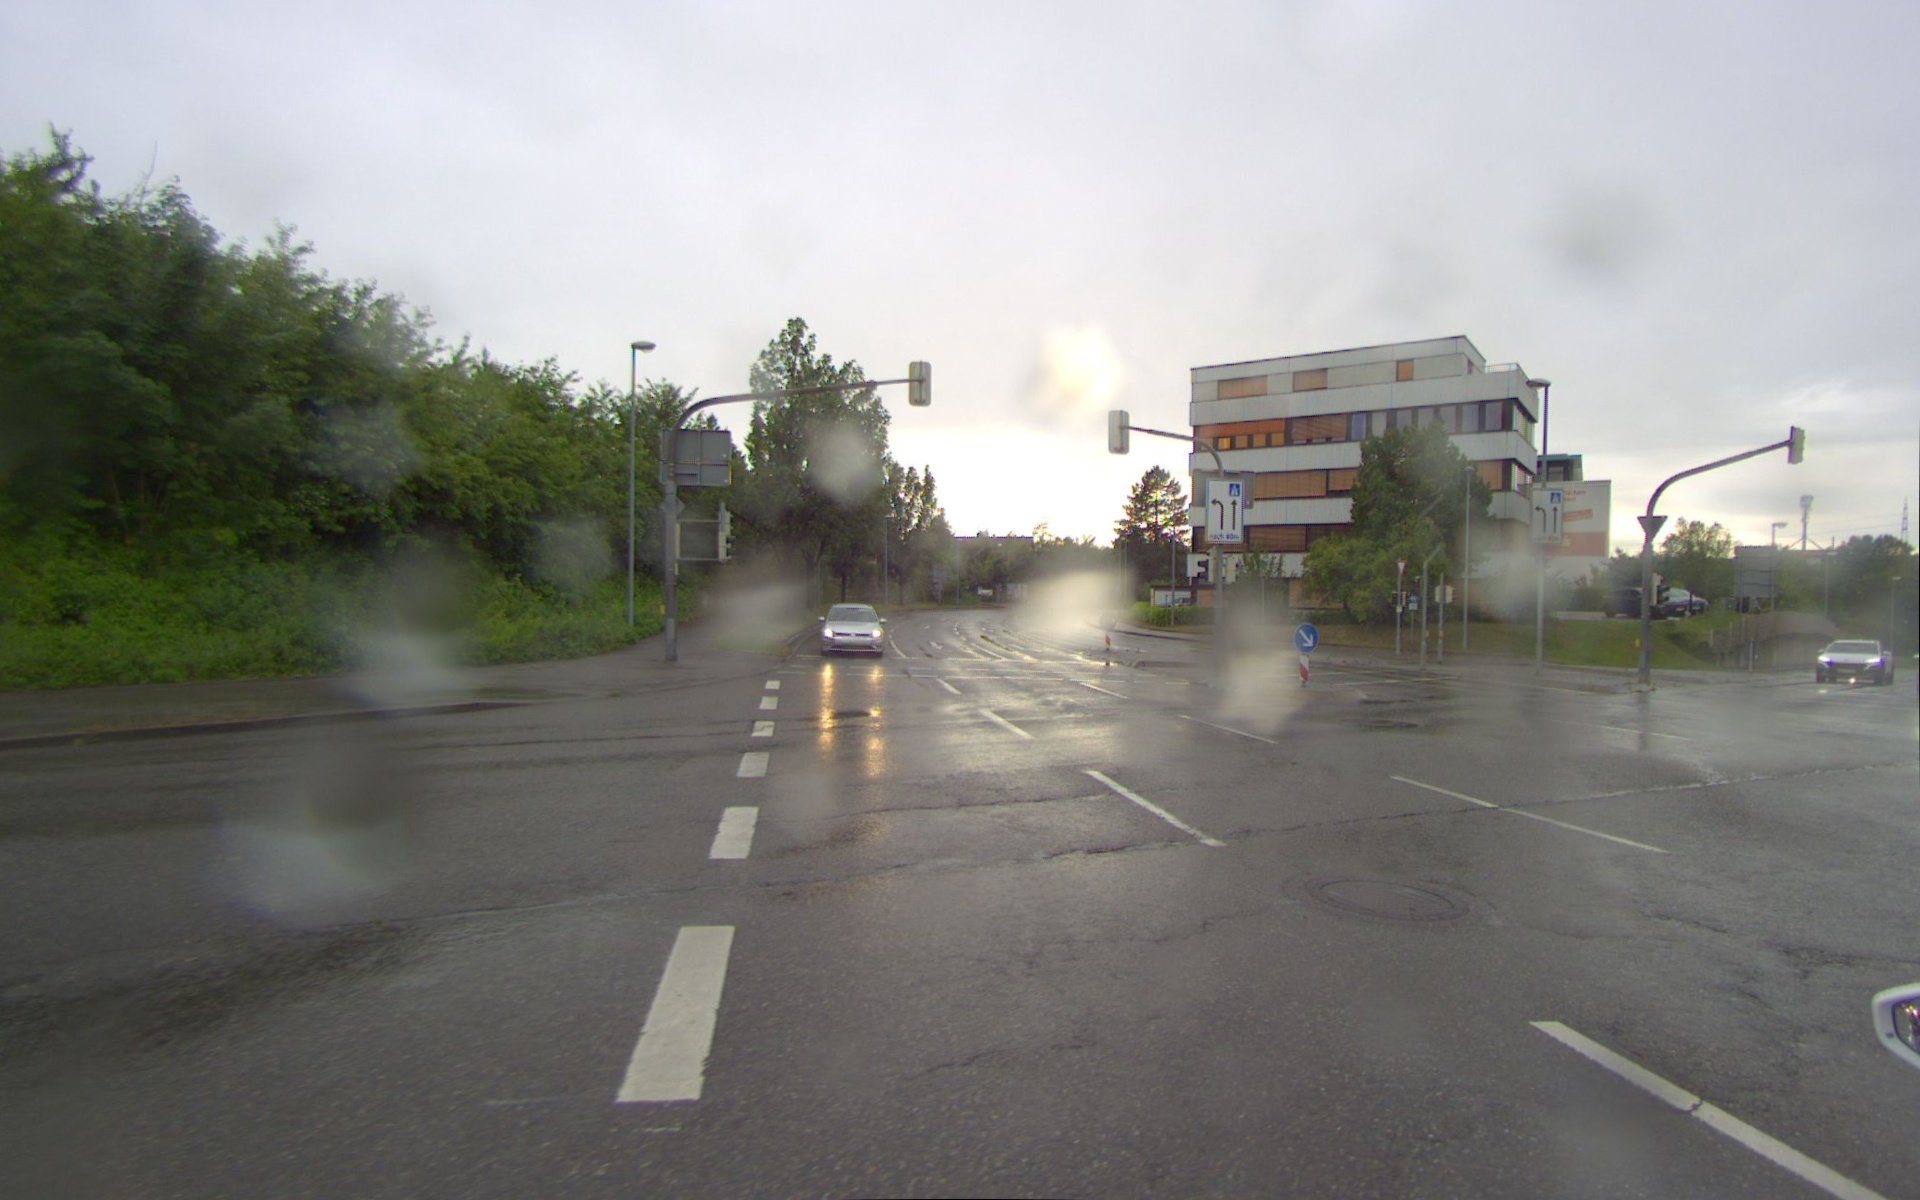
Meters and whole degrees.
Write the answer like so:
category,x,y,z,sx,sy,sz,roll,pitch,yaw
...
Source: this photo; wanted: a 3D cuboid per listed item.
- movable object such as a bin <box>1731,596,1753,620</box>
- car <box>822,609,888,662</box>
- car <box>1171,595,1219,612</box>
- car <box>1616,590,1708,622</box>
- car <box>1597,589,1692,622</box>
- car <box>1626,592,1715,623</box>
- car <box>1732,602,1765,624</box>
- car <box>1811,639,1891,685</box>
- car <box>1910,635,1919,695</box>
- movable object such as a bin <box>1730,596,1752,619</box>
category,x,y,z,sx,sy,sz,roll,pitch,yaw
movable object such as a bin,52.580,0.534,67.524,1.071,1.456,1.440,3,0,40
car,-3.020,0.978,29.508,1.729,1.381,4.529,2,0,-4
car,20.314,0.279,86.915,3.689,1.418,1.998,1,0,25
car,39.158,0.322,56.146,1.869,1.607,3.992,4,0,-10
car,36.968,0.251,54.374,1.871,1.607,3.988,4,0,-14
car,41.202,0.398,58.340,1.869,1.607,3.992,4,0,-10
car,58.692,0.983,74.751,1.805,1.461,3.982,3,0,40
car,32.274,2.219,36.358,3.970,1.514,1.705,3,-1,-42
car,26.186,1.735,26.228,3.970,1.514,1.646,3,-1,-42
movable object such as a bin,51.625,0.498,66.396,1.071,1.456,1.440,3,0,40
